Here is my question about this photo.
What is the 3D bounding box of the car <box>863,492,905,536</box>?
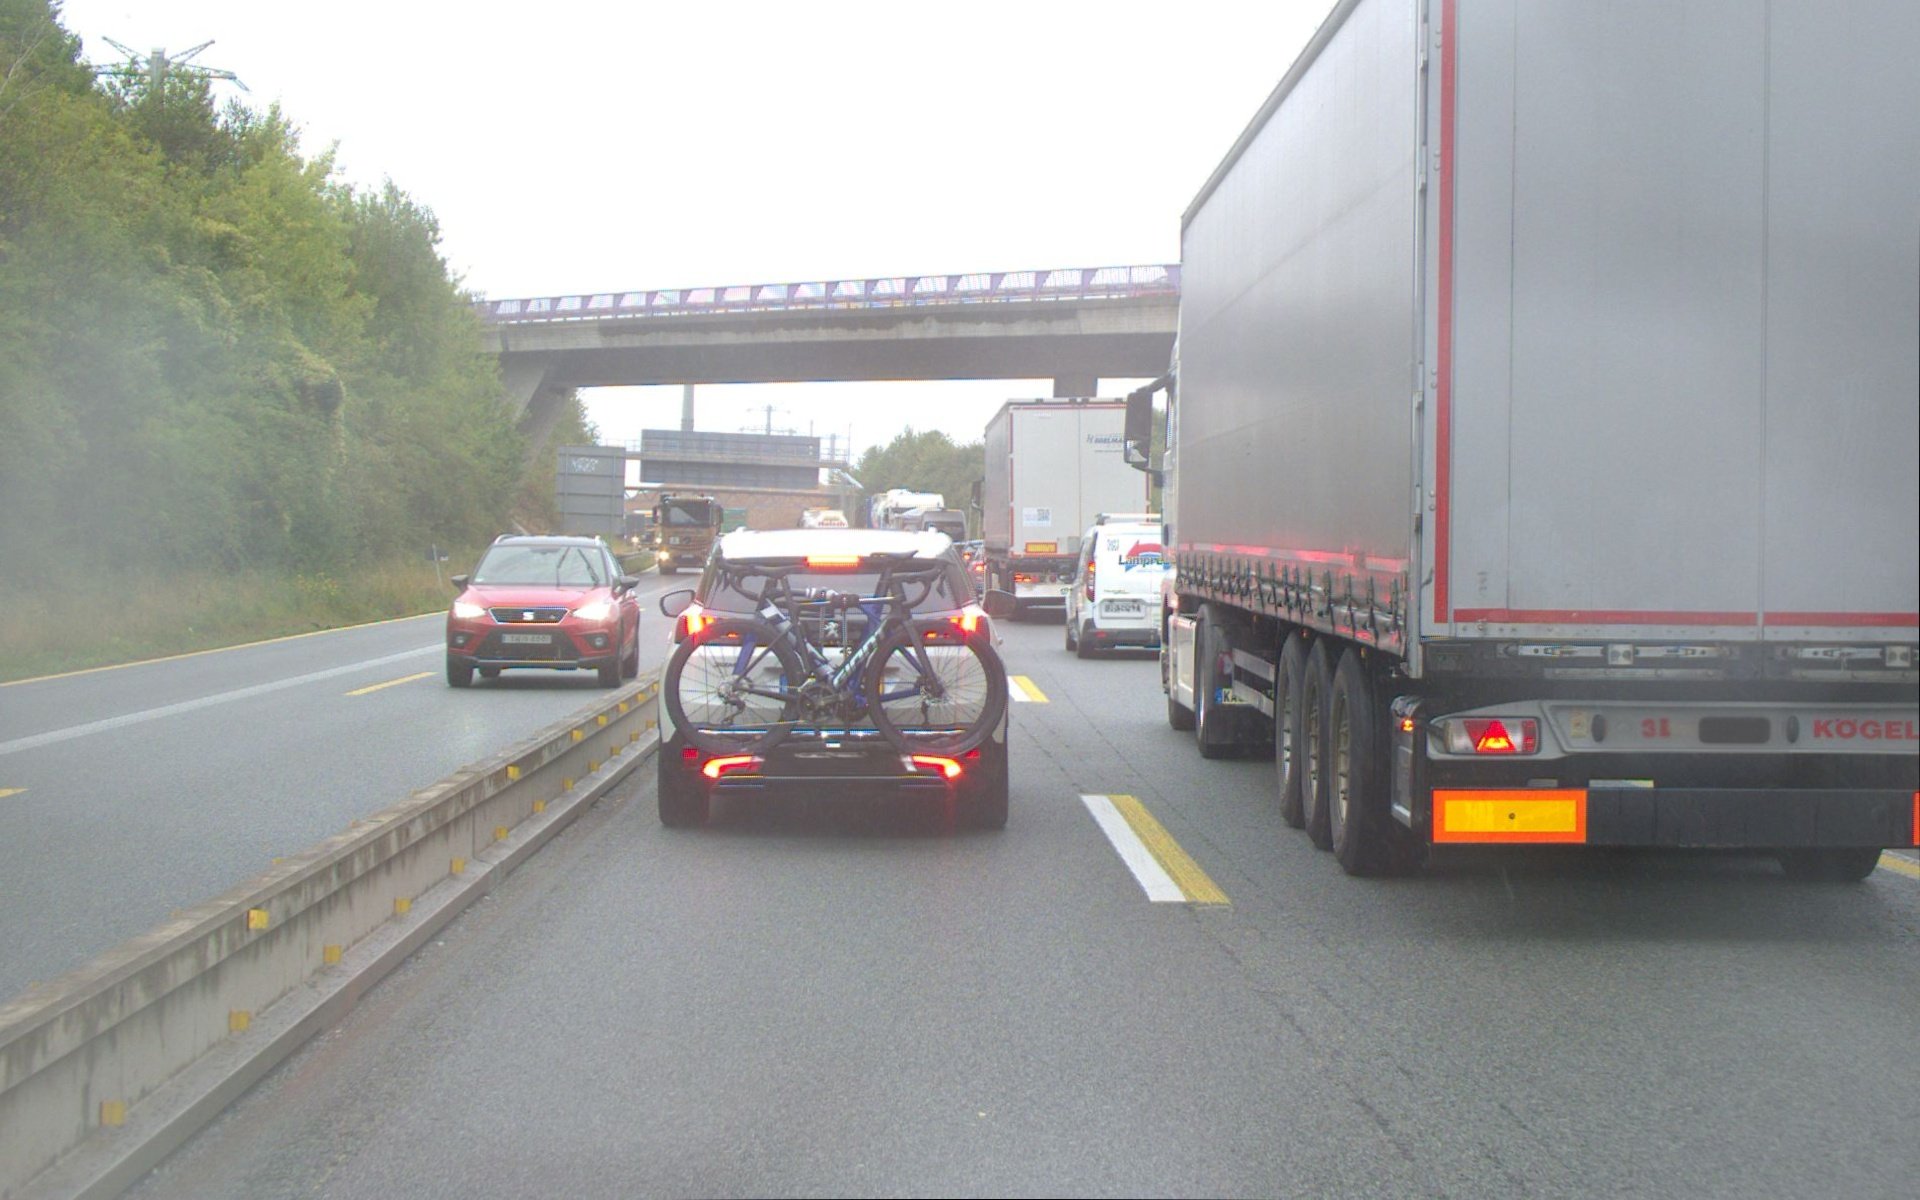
[{"bbox_3d":[-3.794,-4.271,171.545,1.993,2.119,4.527,1,1,0],"label":"car"}]

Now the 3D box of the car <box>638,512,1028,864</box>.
[{"bbox_3d":[-0.575,0.386,18.436,1.810,1.632,4.635,1,1,1],"label":"car"}]

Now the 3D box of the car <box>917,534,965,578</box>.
[{"bbox_3d":[-0.661,-1.510,118.610,1.638,1.492,3.666,1,1,0],"label":"car"}]

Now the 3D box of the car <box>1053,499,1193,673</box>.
[{"bbox_3d":[2.120,-0.201,45.708,1.670,2.173,4.535,1,1,1],"label":"car"}]

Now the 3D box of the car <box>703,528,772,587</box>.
[{"bbox_3d":[-6.330,-1.210,98.197,1.810,1.627,4.118,1,1,-2],"label":"car"}]

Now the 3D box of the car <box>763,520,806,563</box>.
[{"bbox_3d":[-7.514,-2.495,147.513,1.810,1.817,4.636,1,1,-2],"label":"car"}]

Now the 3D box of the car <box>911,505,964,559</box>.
[{"bbox_3d":[-0.874,-2.610,132.838,1.993,2.007,4.000,1,1,0],"label":"car"}]

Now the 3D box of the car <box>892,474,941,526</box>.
[{"bbox_3d":[-1.996,-4.615,158.723,2.239,2.299,4.572,1,1,0],"label":"car"}]

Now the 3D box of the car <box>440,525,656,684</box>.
[{"bbox_3d":[-4.218,0.021,35.707,1.794,1.550,4.000,1,1,-1],"label":"car"}]

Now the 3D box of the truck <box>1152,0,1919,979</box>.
[{"bbox_3d":[3.732,-1.623,22.106,3.979,5.654,20.376,1,1,1],"label":"truck"}]

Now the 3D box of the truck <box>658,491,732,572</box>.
[{"bbox_3d":[-11.386,-2.930,148.733,2.535,3.341,12.051,1,1,-1],"label":"truck"}]

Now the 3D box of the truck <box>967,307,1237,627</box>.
[{"bbox_3d":[2.615,-2.479,71.405,4.743,5.654,20.376,1,1,1],"label":"truck"}]

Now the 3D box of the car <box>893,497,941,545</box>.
[{"bbox_3d":[-1.817,-3.340,145.887,1.993,2.007,4.000,1,1,0],"label":"car"}]

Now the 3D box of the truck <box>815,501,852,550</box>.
[{"bbox_3d":[-9.004,-5.260,245.700,2.535,3.341,12.051,1,1,-1],"label":"truck"}]

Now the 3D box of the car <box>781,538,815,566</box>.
[{"bbox_3d":[-8.256,-2.429,175.128,1.686,1.404,3.930,1,1,-2],"label":"car"}]

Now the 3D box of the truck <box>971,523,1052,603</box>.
[{"bbox_3d":[1.314,-0.962,89.240,1.993,2.007,4.000,1,1,-1],"label":"truck"}]
